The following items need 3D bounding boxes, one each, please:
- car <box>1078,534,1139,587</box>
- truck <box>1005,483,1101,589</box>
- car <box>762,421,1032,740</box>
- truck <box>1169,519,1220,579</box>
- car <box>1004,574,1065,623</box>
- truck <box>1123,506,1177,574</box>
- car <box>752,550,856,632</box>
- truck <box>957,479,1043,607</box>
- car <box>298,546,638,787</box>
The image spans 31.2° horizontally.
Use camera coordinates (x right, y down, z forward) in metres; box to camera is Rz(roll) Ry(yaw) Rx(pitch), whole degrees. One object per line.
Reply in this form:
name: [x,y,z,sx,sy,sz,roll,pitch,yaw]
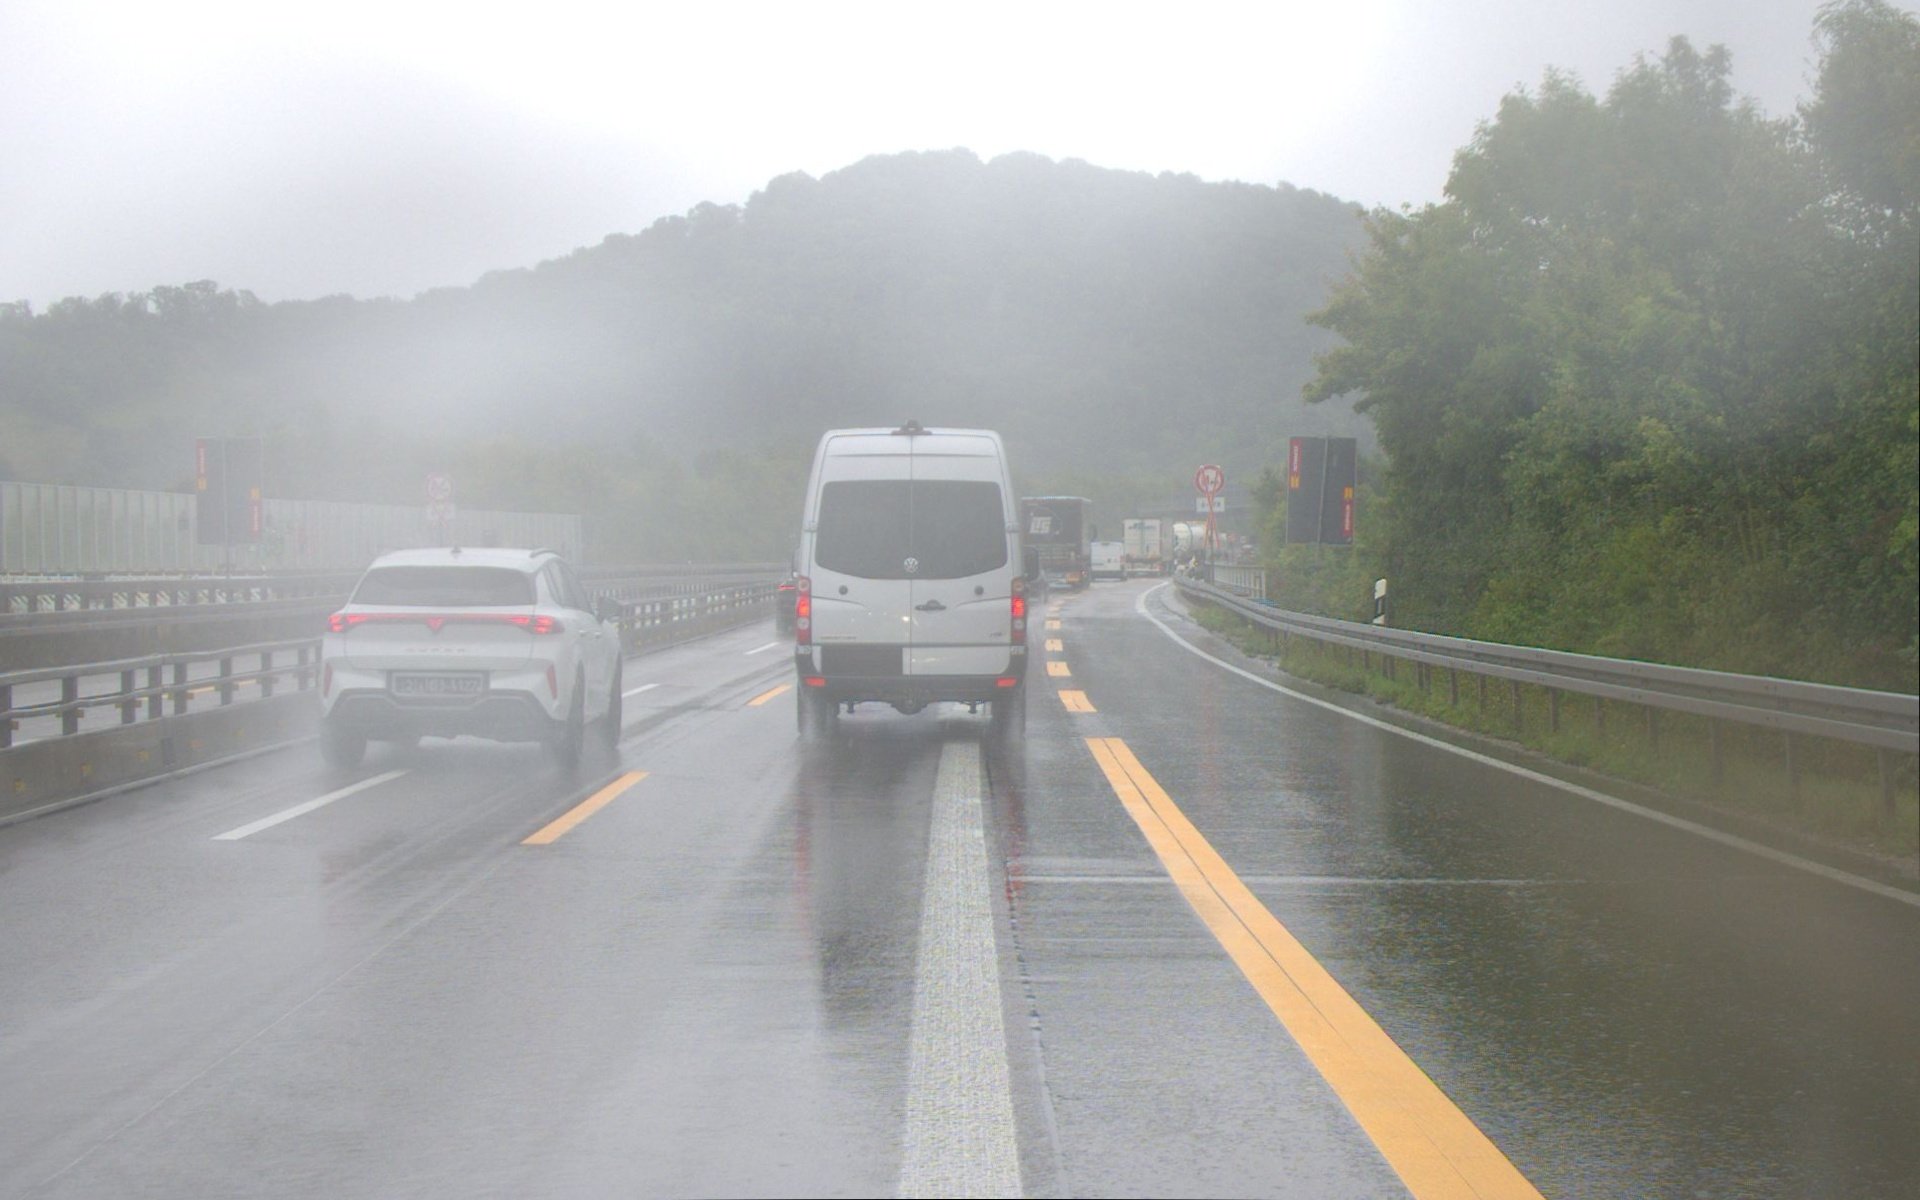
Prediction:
car: [8.444,-2.224,195.399,2.899,2.878,6.409,1,0,7]
truck: [4.082,-2.716,148.915,3.582,4.391,9.622,1,0,5]
car: [-0.577,-0.177,30.715,2.145,2.562,5.390,1,0,-1]
truck: [18.026,-3.867,263.535,2.899,4.391,9.620,1,0,9]
car: [2.366,-0.051,108.910,1.774,1.470,4.000,1,0,3]
truck: [12.789,-4.017,231.202,3.037,4.391,9.621,1,0,6]
car: [-3.109,-0.190,69.251,1.946,1.556,4.000,1,0,-1]
truck: [1.089,-1.433,89.116,1.993,3.098,8.498,1,0,2]
car: [-3.582,0.437,25.871,1.993,1.612,4.797,1,0,-2]
